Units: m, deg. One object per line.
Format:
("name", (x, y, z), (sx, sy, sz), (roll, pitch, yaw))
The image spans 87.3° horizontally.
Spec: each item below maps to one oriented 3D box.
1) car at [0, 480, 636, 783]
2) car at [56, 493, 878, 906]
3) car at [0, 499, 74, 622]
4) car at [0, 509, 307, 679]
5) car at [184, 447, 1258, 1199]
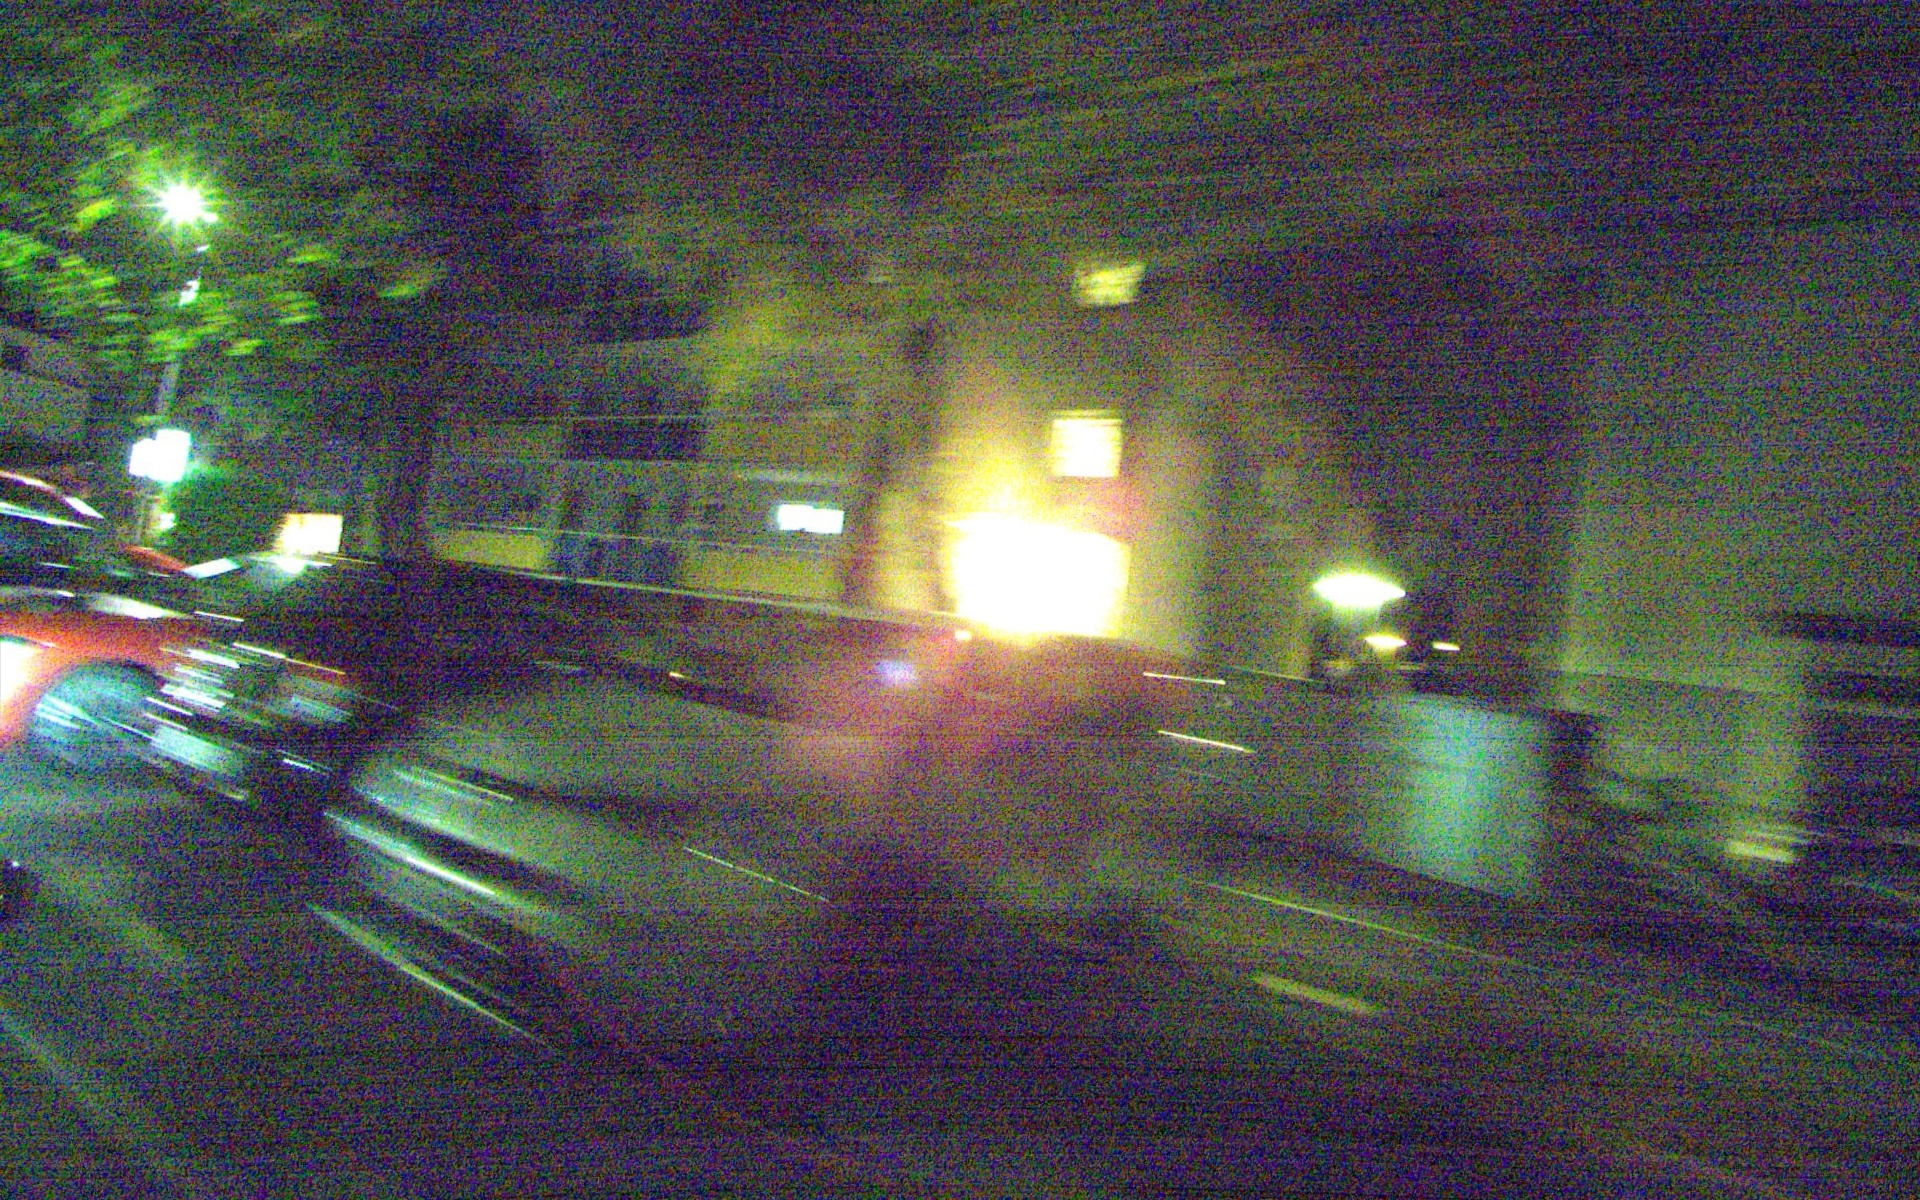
("car", (-4.989, 0.301, 7.273), (2.072, 1.573, 4.667), (7, -4, 32))
("car", (-2.565, 0.601, 6.232), (1.967, 1.573, 3.998), (7, -4, 32))
("car", (-14.275, -0.804, 12.895), (1.956, 1.568, 3.922), (7, -3, 35))
("car", (-9.534, -0.166, 10.176), (1.903, 1.435, 4.408), (7, -3, 33))
("car", (-0.443, 0.722, 4.514), (1.969, 1.716, 4.284), (7, -4, 36))
